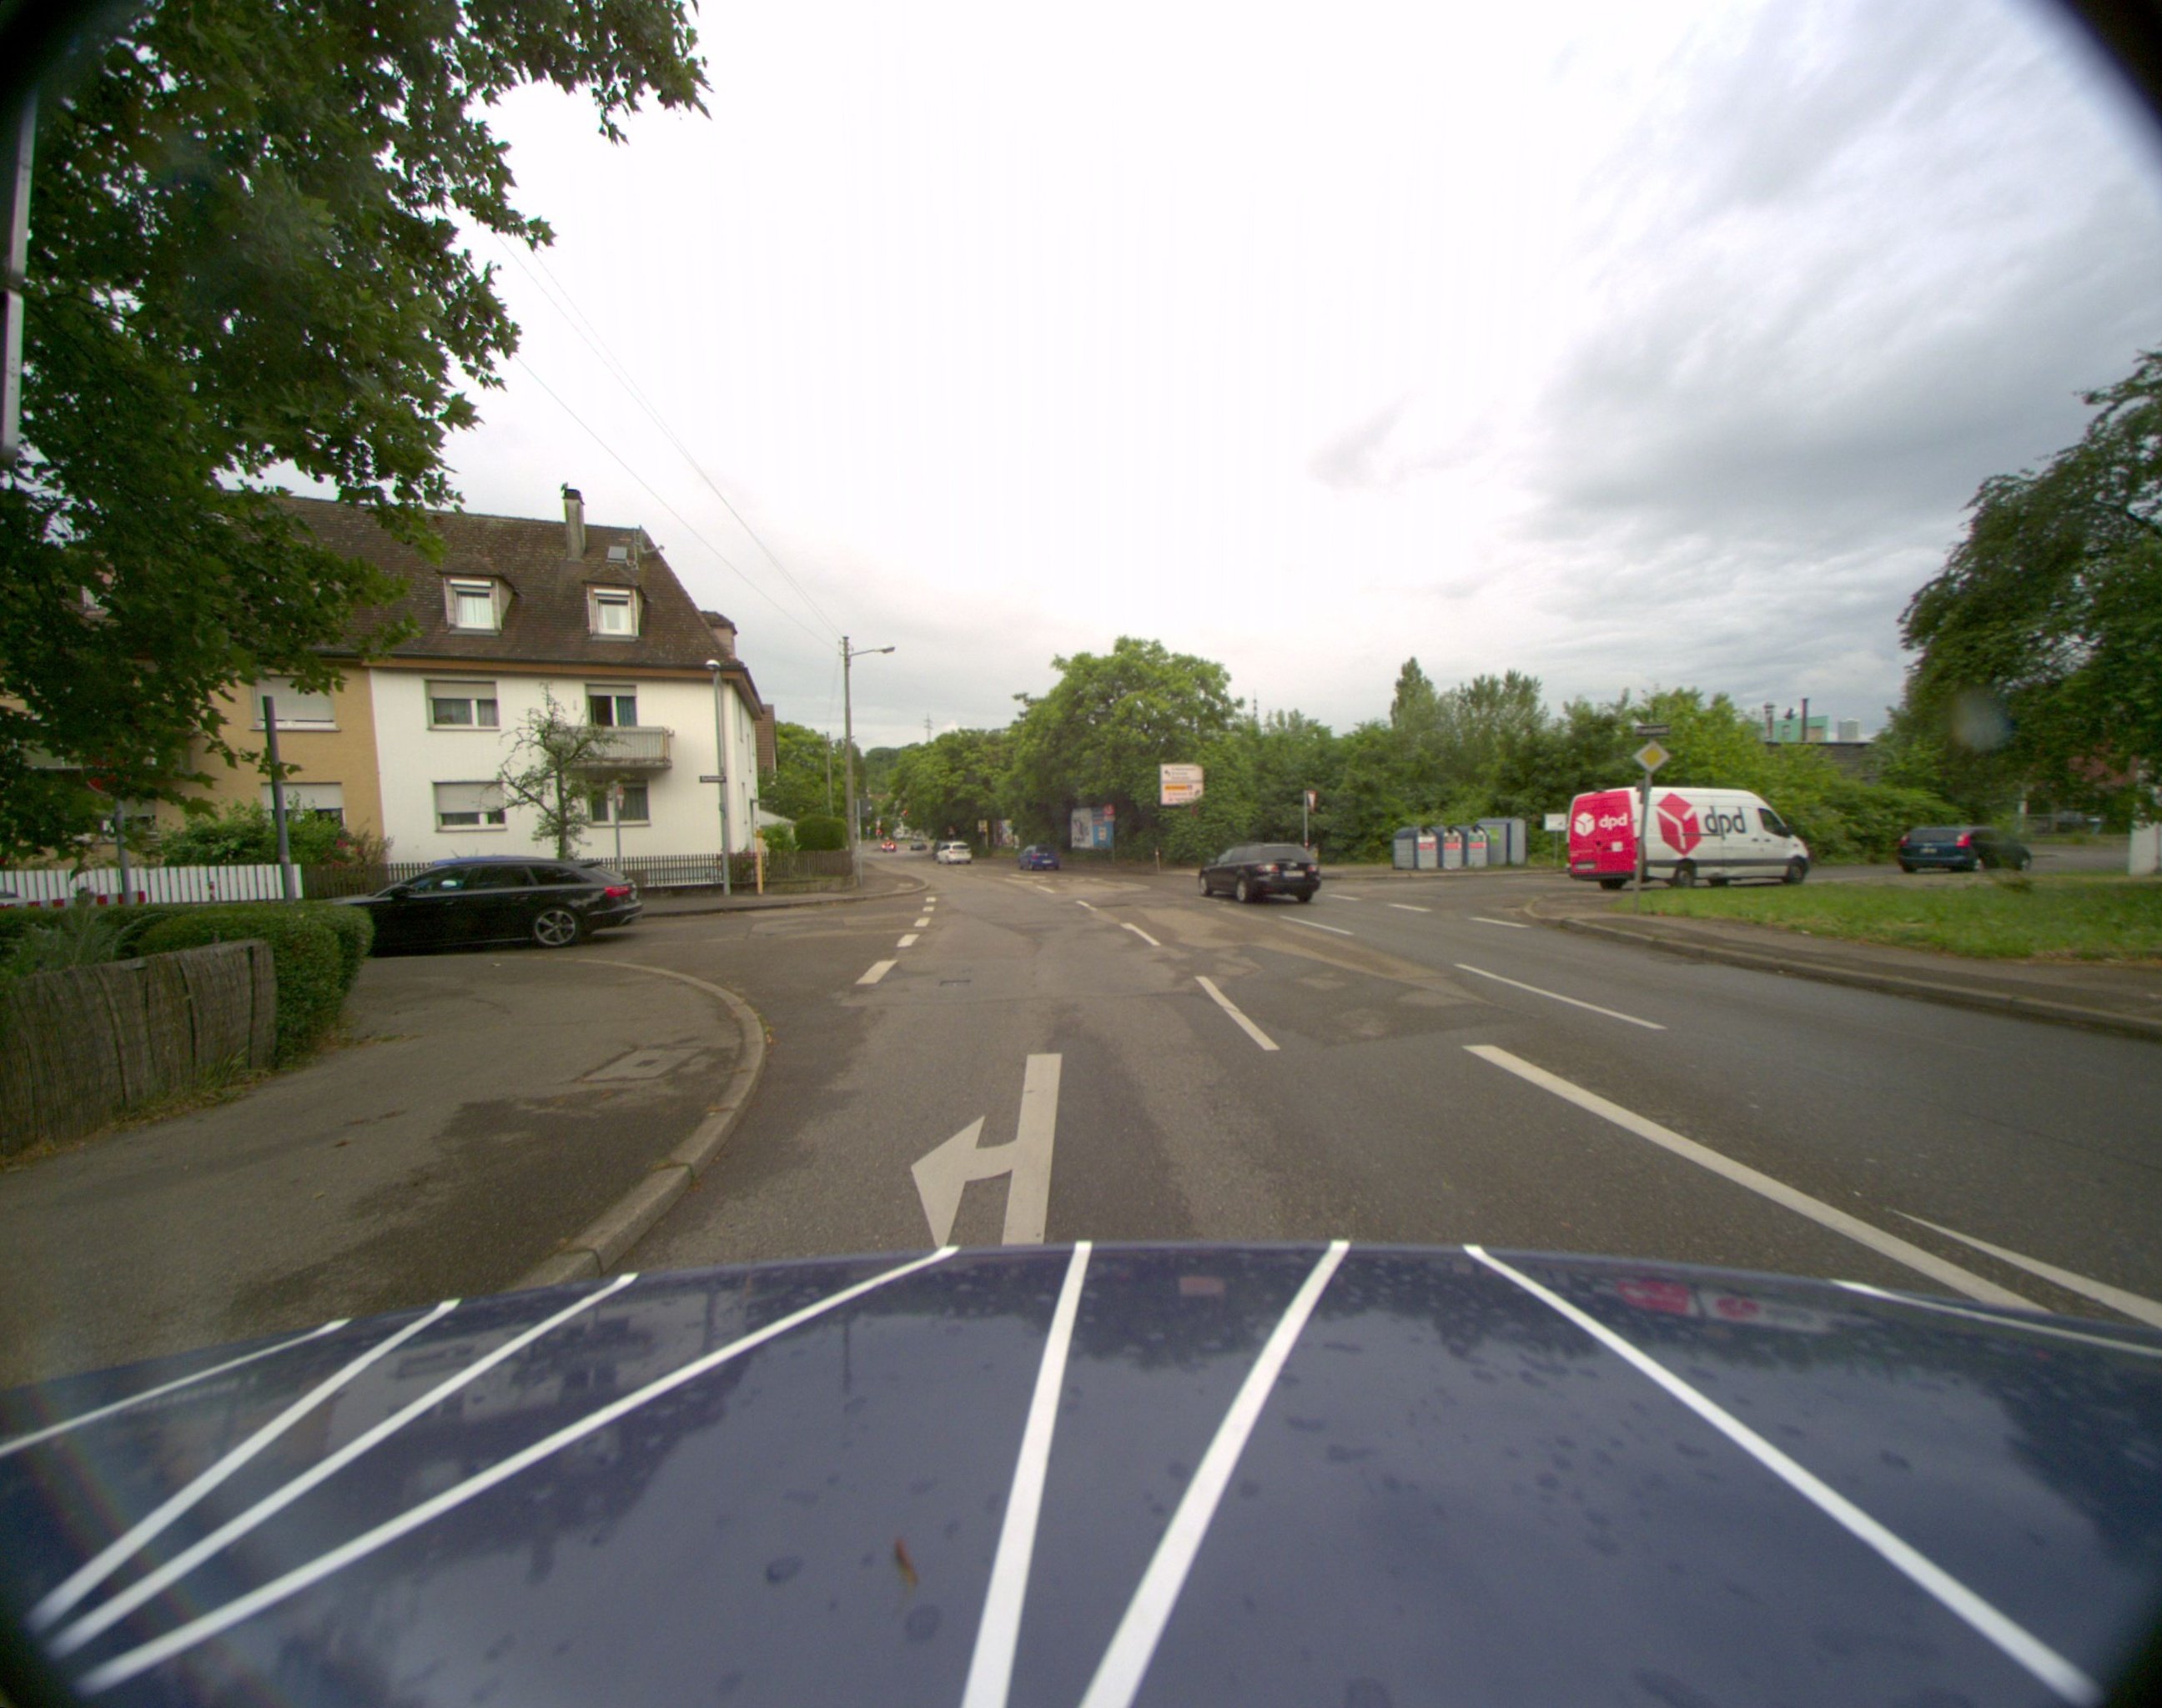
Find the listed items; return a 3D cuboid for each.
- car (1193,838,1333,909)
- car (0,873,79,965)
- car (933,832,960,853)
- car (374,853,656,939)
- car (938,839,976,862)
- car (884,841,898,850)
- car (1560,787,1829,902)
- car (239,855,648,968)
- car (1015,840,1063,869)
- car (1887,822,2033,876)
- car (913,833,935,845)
[{"bbox_3d":[4.476,0.401,19.431,1.848,1.560,4.408,-2,1,-10],"label":"car"},{"bbox_3d":[-19.480,1.126,12.139,3.788,1.445,1.769,-2,1,-20],"label":"car"},{"bbox_3d":[-12.827,-1.118,72.317,1.965,1.920,4.676,-2,1,-16],"label":"car"},{"bbox_3d":[-11.131,0.764,15.332,4.130,1.472,1.883,-1,1,-17],"label":"car"},{"bbox_3d":[-9.570,-0.227,58.447,1.839,1.569,4.326,-1,-1,-23],"label":"car"},{"bbox_3d":[-31.213,-1.471,125.022,1.901,1.453,3.996,-1,1,-9],"label":"car"},{"bbox_3d":[16.157,-0.352,20.007,6.829,2.641,2.258,-2,2,-20],"label":"car"},{"bbox_3d":[-10.064,0.816,12.593,4.823,1.472,1.882,-1,1,-24],"label":"car"},{"bbox_3d":[-2.399,0.008,42.535,1.604,1.418,3.689,-3,3,-21],"label":"car"},{"bbox_3d":[30.135,-0.213,26.050,4.257,1.620,1.996,-3,2,-22],"label":"car"},{"bbox_3d":[-27.536,-2.710,133.332,1.997,1.436,4.772,-4,7,10],"label":"car"}]
